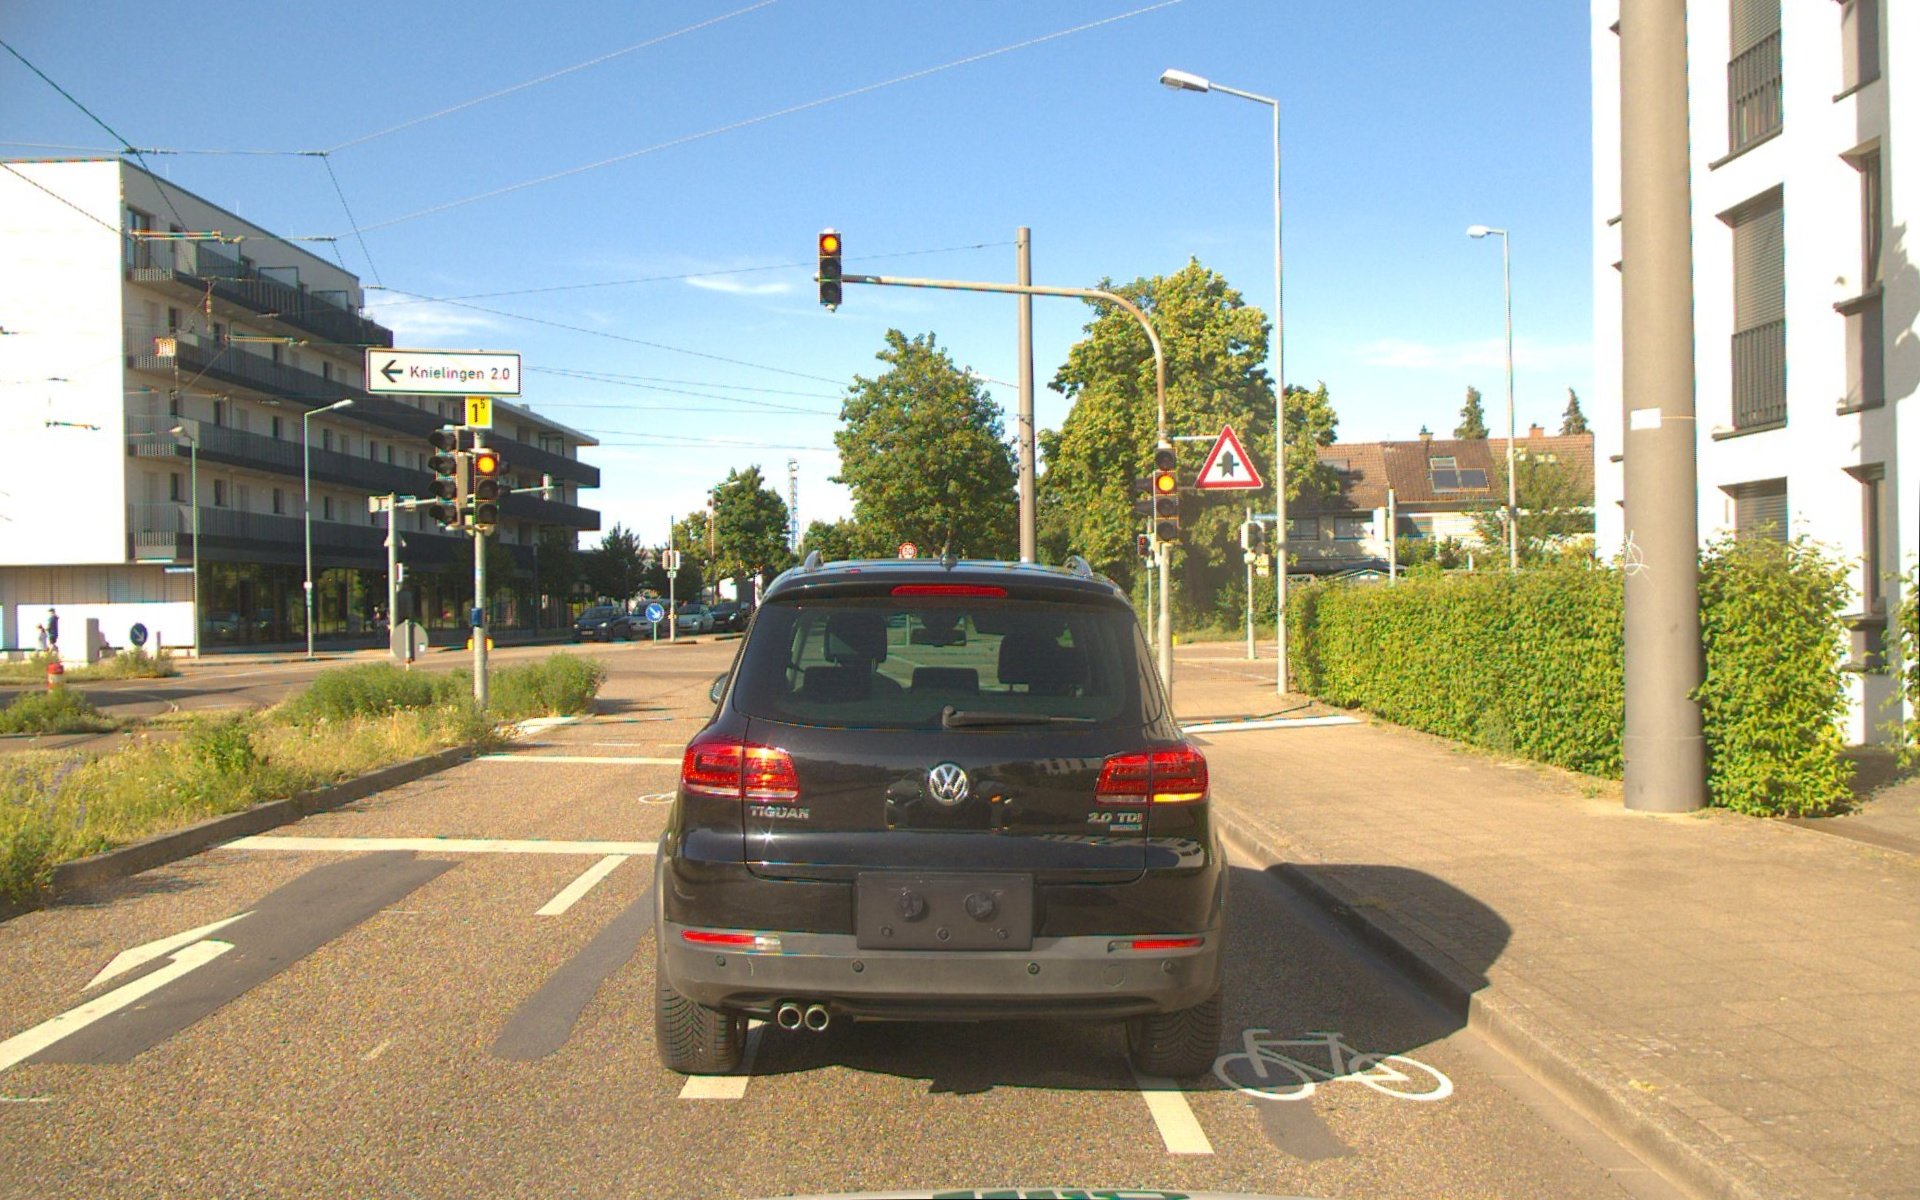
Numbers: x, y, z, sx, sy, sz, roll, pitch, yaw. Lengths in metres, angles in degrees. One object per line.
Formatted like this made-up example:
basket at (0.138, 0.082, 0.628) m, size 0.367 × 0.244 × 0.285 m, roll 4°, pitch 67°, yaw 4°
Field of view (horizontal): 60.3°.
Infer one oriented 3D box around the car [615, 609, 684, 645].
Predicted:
car at (-14.589, 1.264, 77.967) m, size 1.951 × 1.601 × 4.342 m, roll 1°, pitch 0°, yaw 7°

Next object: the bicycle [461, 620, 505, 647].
bicycle at (-18.697, 1.310, 64.908) m, size 0.755 × 1.006 × 2.434 m, roll 1°, pitch 0°, yaw 6°

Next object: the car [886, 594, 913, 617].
car at (-4.604, 0.400, 126.609) m, size 1.825 × 1.750 × 3.687 m, roll -1°, pitch 0°, yaw 1°

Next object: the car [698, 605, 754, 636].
car at (-12.816, 1.103, 90.825) m, size 1.951 × 1.601 × 4.342 m, roll 1°, pitch 0°, yaw 7°

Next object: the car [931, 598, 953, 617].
car at (-1.733, 0.716, 163.495) m, size 1.952 × 1.869 × 4.001 m, roll 1°, pitch 0°, yaw 2°

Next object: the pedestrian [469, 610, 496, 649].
pedestrian at (-18.717, 1.144, 64.881) m, size 0.696 × 1.499 × 0.954 m, roll 1°, pitch 0°, yaw 6°

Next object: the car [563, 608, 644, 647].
car at (-15.309, 1.157, 71.237) m, size 1.951 × 1.601 × 4.343 m, roll 1°, pitch 0°, yaw 9°

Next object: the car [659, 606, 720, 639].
car at (-13.827, 1.142, 84.820) m, size 1.951 × 1.601 × 4.342 m, roll 1°, pitch 0°, yaw 7°

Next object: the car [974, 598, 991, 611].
car at (2.928, 0.586, 217.720) m, size 1.953 × 1.713 × 3.998 m, roll 1°, pitch 0°, yaw -2°

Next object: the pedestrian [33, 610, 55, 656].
pedestrian at (-30.770, 1.093, 55.555) m, size 0.433 × 1.529 × 0.517 m, roll 1°, pitch -1°, yaw -6°

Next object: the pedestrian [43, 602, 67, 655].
pedestrian at (-30.691, 0.969, 56.098) m, size 0.532 × 1.774 × 0.517 m, roll 1°, pitch -1°, yaw -6°

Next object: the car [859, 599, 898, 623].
car at (-5.245, 0.690, 107.157) m, size 1.824 × 1.511 × 4.113 m, roll -1°, pitch 0°, yaw 7°

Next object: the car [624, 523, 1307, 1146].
car at (-0.008, 0.647, 6.491) m, size 1.831 × 1.666 × 3.999 m, roll 1°, pitch 0°, yaw -1°

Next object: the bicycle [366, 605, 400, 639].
bicycle at (-23.584, 0.894, 67.596) m, size 0.617 × 1.355 × 1.913 m, roll 1°, pitch 0°, yaw 2°

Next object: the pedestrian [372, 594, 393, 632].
pedestrian at (-23.579, 0.531, 67.538) m, size 0.629 × 1.535 × 0.596 m, roll 1°, pitch -1°, yaw 2°
